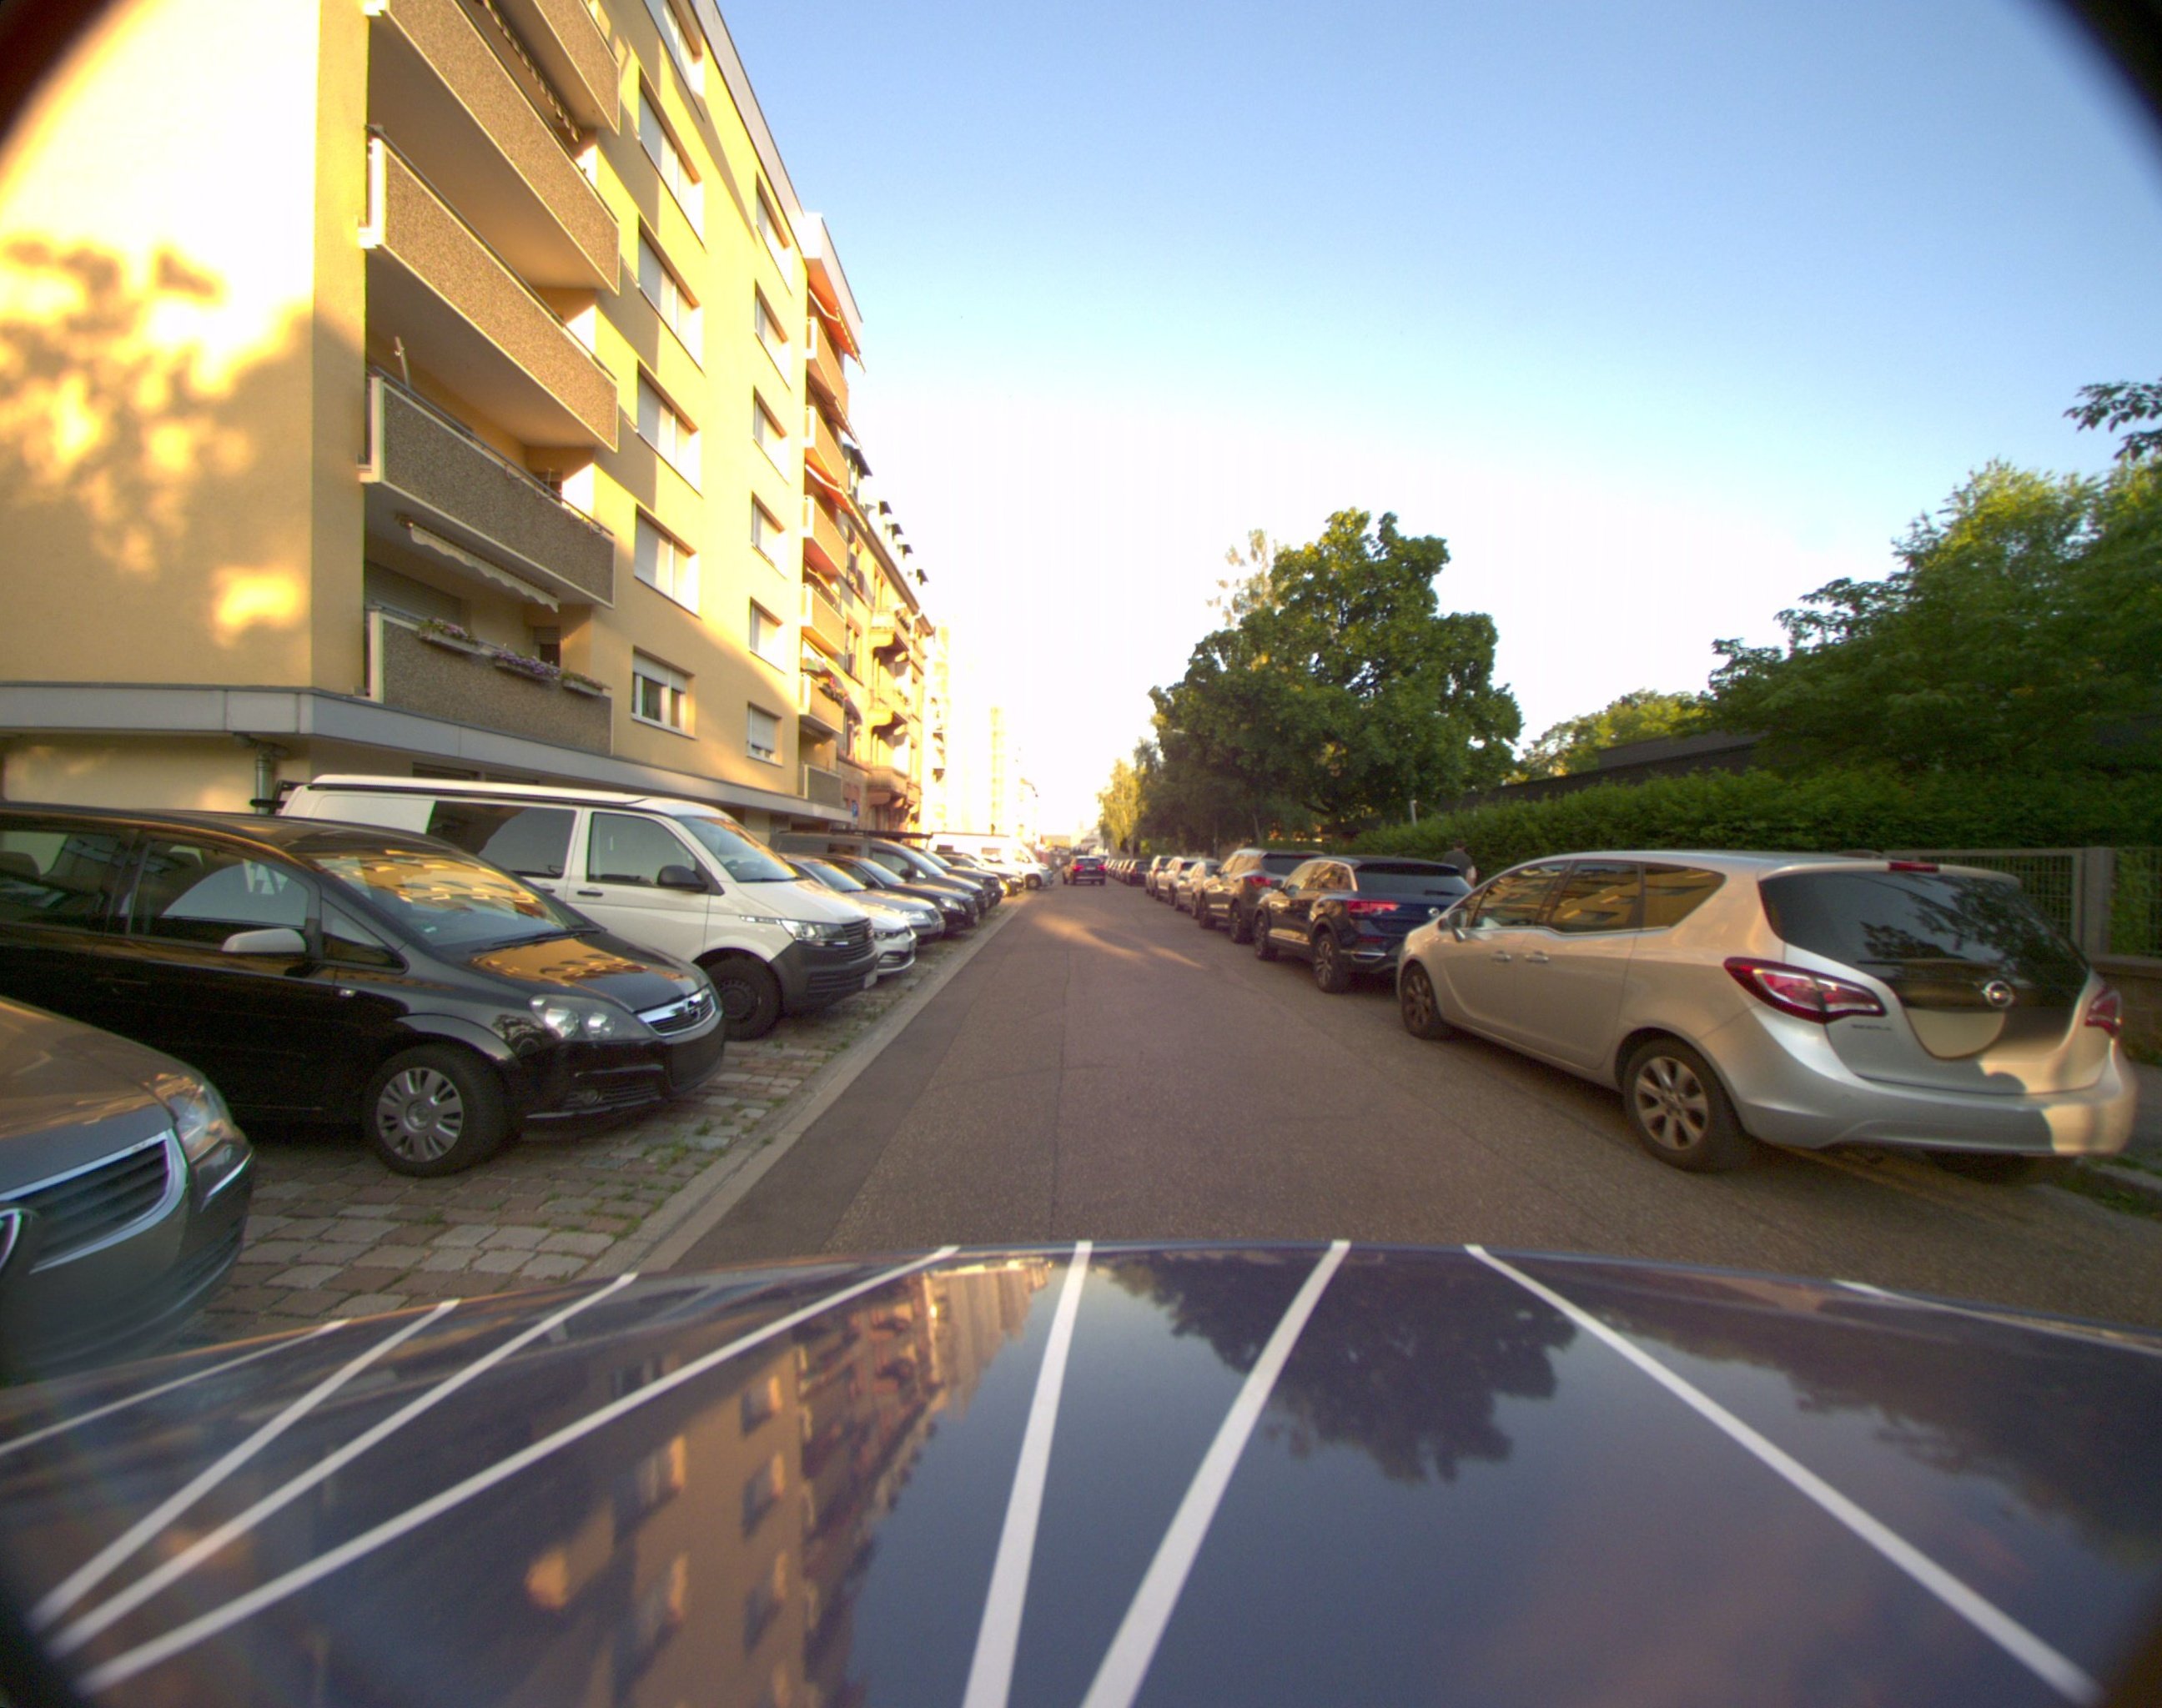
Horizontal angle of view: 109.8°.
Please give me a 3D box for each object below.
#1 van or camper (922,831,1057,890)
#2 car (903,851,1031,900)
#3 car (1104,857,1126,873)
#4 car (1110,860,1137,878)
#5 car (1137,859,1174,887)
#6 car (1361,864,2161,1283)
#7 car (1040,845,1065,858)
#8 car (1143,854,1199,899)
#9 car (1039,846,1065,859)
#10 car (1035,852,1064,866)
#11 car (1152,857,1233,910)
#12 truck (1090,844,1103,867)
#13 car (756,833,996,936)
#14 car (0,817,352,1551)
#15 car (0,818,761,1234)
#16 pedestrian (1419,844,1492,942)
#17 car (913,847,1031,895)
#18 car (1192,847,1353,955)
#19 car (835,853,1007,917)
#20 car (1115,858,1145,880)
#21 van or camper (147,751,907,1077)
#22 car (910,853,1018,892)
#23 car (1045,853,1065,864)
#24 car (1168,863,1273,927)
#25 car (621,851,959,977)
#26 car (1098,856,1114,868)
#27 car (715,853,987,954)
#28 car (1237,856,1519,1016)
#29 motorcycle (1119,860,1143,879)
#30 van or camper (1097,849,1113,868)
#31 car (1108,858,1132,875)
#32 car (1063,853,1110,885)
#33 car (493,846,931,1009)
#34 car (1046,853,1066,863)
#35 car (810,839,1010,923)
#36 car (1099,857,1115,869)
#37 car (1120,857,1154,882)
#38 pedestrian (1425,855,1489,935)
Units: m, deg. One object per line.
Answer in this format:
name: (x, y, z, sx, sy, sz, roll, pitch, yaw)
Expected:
van or camper: (-4.258, 0.292, 36.157, 6.075, 2.489, 2.050, 2, 0, 0)
car: (-4.163, 0.767, 28.202, 4.414, 1.545, 1.845, 2, 2, 0)
car: (3.203, 1.032, 72.719, 1.738, 1.358, 4.291, 2, 0, -1)
car: (3.261, 1.115, 59.067, 1.738, 1.280, 3.804, 2, 0, -1)
car: (4.016, 1.028, 41.528, 1.624, 1.417, 3.415, 2, 0, 0)
car: (3.591, 0.892, 5.009, 1.738, 1.558, 4.128, 2, 0, -3)
car: (-4.587, -0.430, 122.013, 3.997, 2.002, 2.000, 0, 0, -1)
car: (3.530, 0.859, 30.412, 1.738, 1.621, 3.980, 2, 0, 0)
car: (-4.470, -0.232, 118.860, 3.997, 2.002, 2.000, 0, 0, -1)
car: (-4.463, 0.728, 107.816, 3.997, 2.002, 2.000, 0, 0, -1)
car: (3.546, 0.888, 24.970, 1.764, 1.534, 4.279, 2, 0, -3)
truck: (2.629, 0.270, 129.471, 2.183, 3.860, 4.926, 0, 0, 0)
car: (-4.288, 0.601, 16.425, 4.649, 1.970, 1.845, 2, 2, -1)
car: (-4.658, 0.672, 1.556, 4.416, 1.652, 1.844, 3, 2, -3)
car: (-4.342, 0.743, 4.183, 4.338, 1.652, 1.780, 3, 2, -3)
pedestrian: (6.862, 0.693, 13.962, 0.901, 1.722, 0.750, -2, 1, -2)
car: (-4.357, 0.661, 30.770, 4.413, 1.738, 1.846, 2, 1, 3)
car: (3.433, 0.773, 14.519, 1.738, 1.720, 4.321, 2, 0, -3)
car: (-4.440, 0.831, 21.496, 4.414, 1.545, 1.845, 2, 2, 2)
car: (3.393, 1.030, 53.532, 1.738, 1.417, 3.804, 2, 0, -1)
van or camper: (-4.424, 0.475, 6.827, 5.147, 2.155, 2.039, 4, 1, -2)
car: (-5.071, 0.784, 33.298, 4.414, 1.610, 1.845, 0, 2, 1)
car: (-5.182, 0.902, 151.287, 3.997, 2.002, 2.000, 0, 0, -1)
car: (3.545, 0.997, 20.135, 1.738, 1.418, 4.285, 2, 0, -3)
car: (-4.224, 0.840, 11.570, 4.415, 1.584, 1.845, 2, 2, -1)
car: (3.119, 0.987, 96.959, 1.738, 1.502, 4.291, 2, 0, -1)
car: (-4.068, 0.852, 13.980, 4.415, 1.554, 1.845, 2, 2, -1)
car: (3.409, 0.836, 9.685, 1.738, 1.558, 4.166, 2, 0, -3)
motorcycle: (3.328, 1.024, 50.489, 1.596, 1.251, 0.785, 0, 0, 2)
van or camper: (3.170, 0.566, 102.077, 1.825, 2.400, 4.291, 2, 0, -1)
car: (3.269, 1.007, 64.274, 1.738, 1.358, 3.804, 2, 0, -1)
car: (0.248, 0.778, 41.838, 1.740, 1.621, 4.121, 2, 0, -12)
car: (-4.233, 0.808, 9.265, 4.415, 1.622, 1.845, 2, 2, -1)
car: (-5.025, 0.893, 153.715, 3.997, 2.002, 2.000, 0, 0, -1)
car: (-4.121, 0.642, 18.872, 4.524, 1.852, 1.845, 2, 0, -1)
car: (3.086, 1.054, 90.951, 1.738, 1.358, 4.291, 2, 0, -1)
car: (3.423, 0.933, 46.738, 1.738, 1.438, 3.804, 2, 0, 0)
pedestrian: (7.377, 0.785, 14.942, 0.750, 1.499, 0.901, -2, 0, -2)
